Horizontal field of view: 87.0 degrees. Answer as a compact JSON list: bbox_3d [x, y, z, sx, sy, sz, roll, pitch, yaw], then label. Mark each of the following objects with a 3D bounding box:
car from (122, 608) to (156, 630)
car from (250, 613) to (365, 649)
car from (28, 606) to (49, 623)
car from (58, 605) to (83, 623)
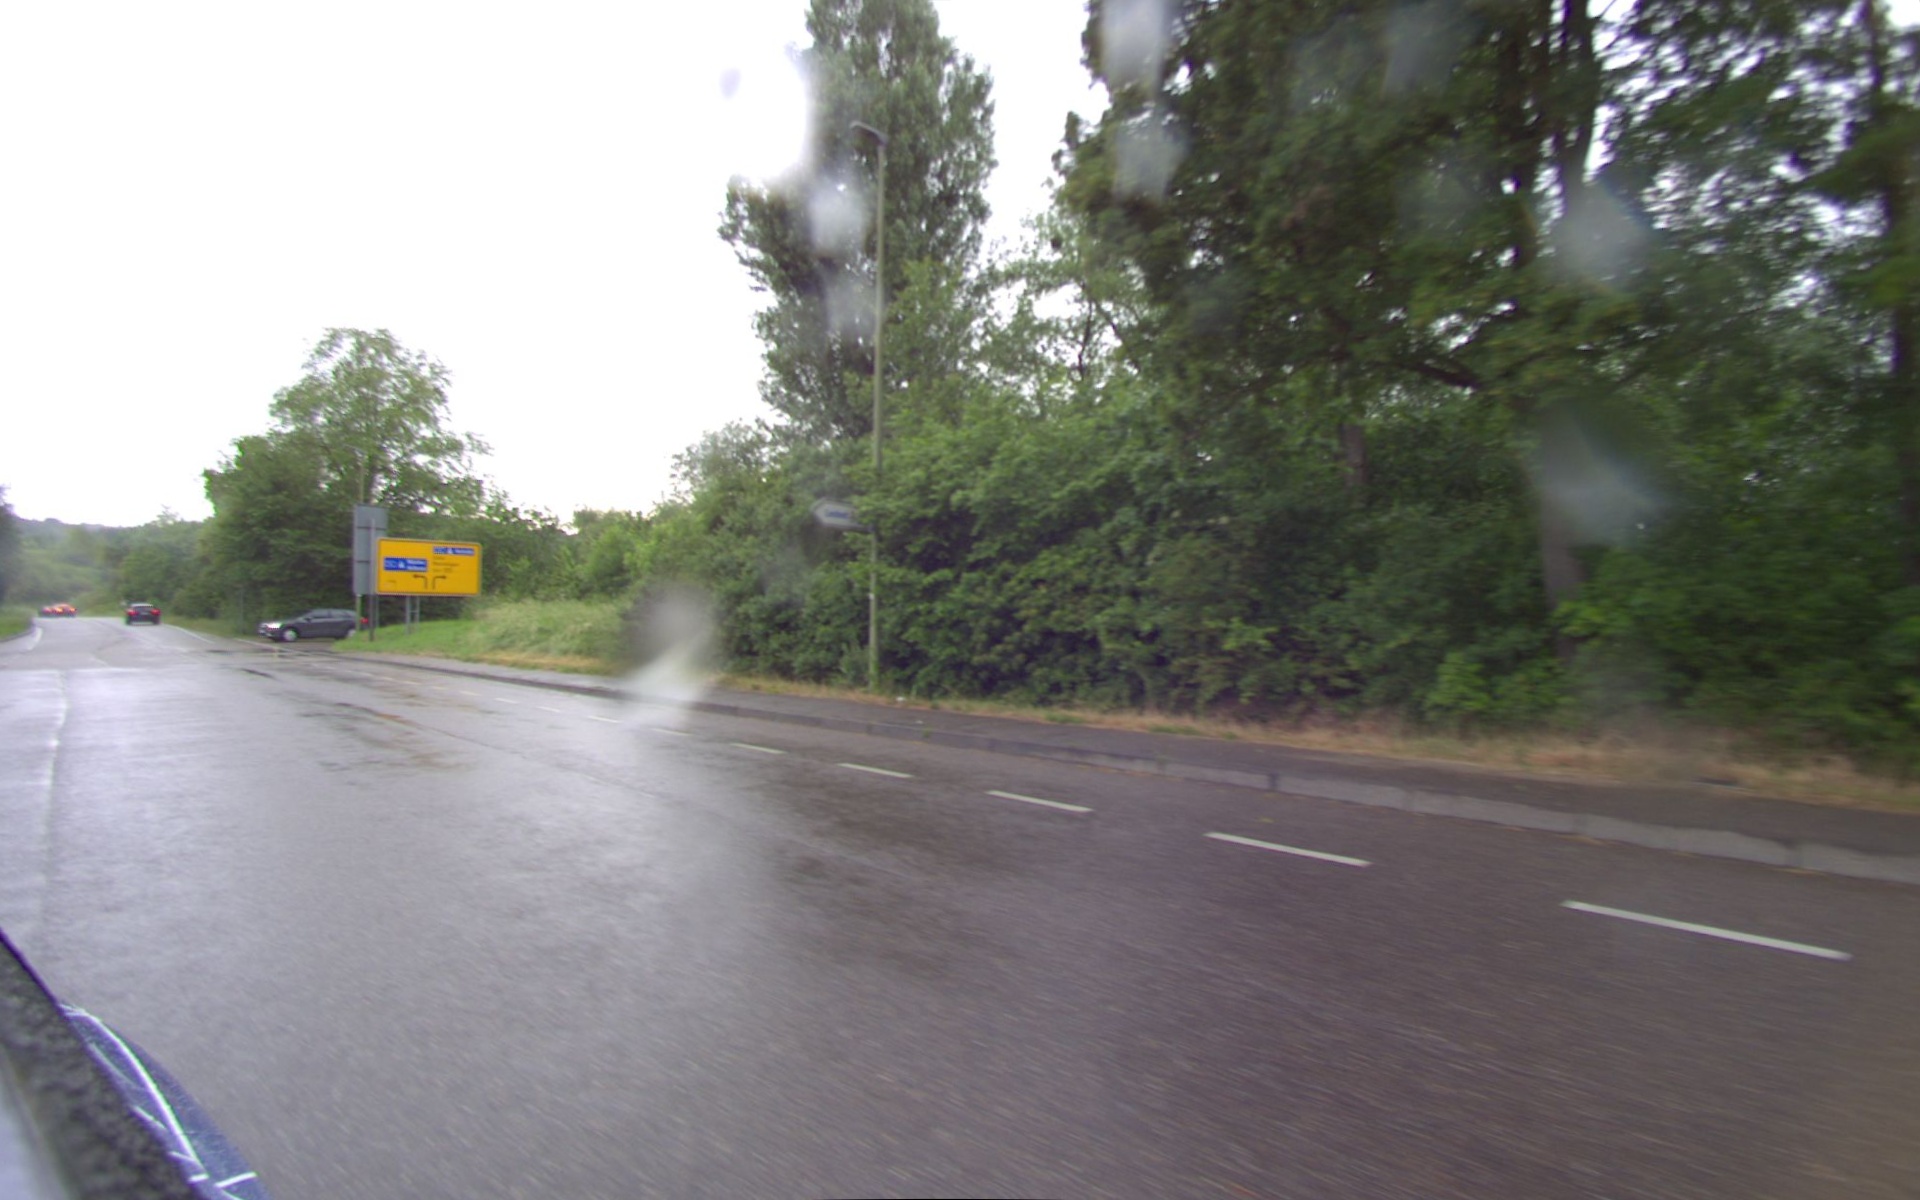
[{"bbox_3d":[-57.747,1.330,71.214,1.806,1.535,4.007,0,-1,-39],"label":"car"},{"bbox_3d":[-29.636,1.377,46.057,1.857,1.501,4.063,-1,-1,42],"label":"car"},{"bbox_3d":[-117.622,1.821,129.147,1.783,2.029,4.003,1,0,-45],"label":"car"},{"bbox_3d":[-104.798,1.660,119.164,1.970,2.029,4.003,1,0,-45],"label":"car"}]
